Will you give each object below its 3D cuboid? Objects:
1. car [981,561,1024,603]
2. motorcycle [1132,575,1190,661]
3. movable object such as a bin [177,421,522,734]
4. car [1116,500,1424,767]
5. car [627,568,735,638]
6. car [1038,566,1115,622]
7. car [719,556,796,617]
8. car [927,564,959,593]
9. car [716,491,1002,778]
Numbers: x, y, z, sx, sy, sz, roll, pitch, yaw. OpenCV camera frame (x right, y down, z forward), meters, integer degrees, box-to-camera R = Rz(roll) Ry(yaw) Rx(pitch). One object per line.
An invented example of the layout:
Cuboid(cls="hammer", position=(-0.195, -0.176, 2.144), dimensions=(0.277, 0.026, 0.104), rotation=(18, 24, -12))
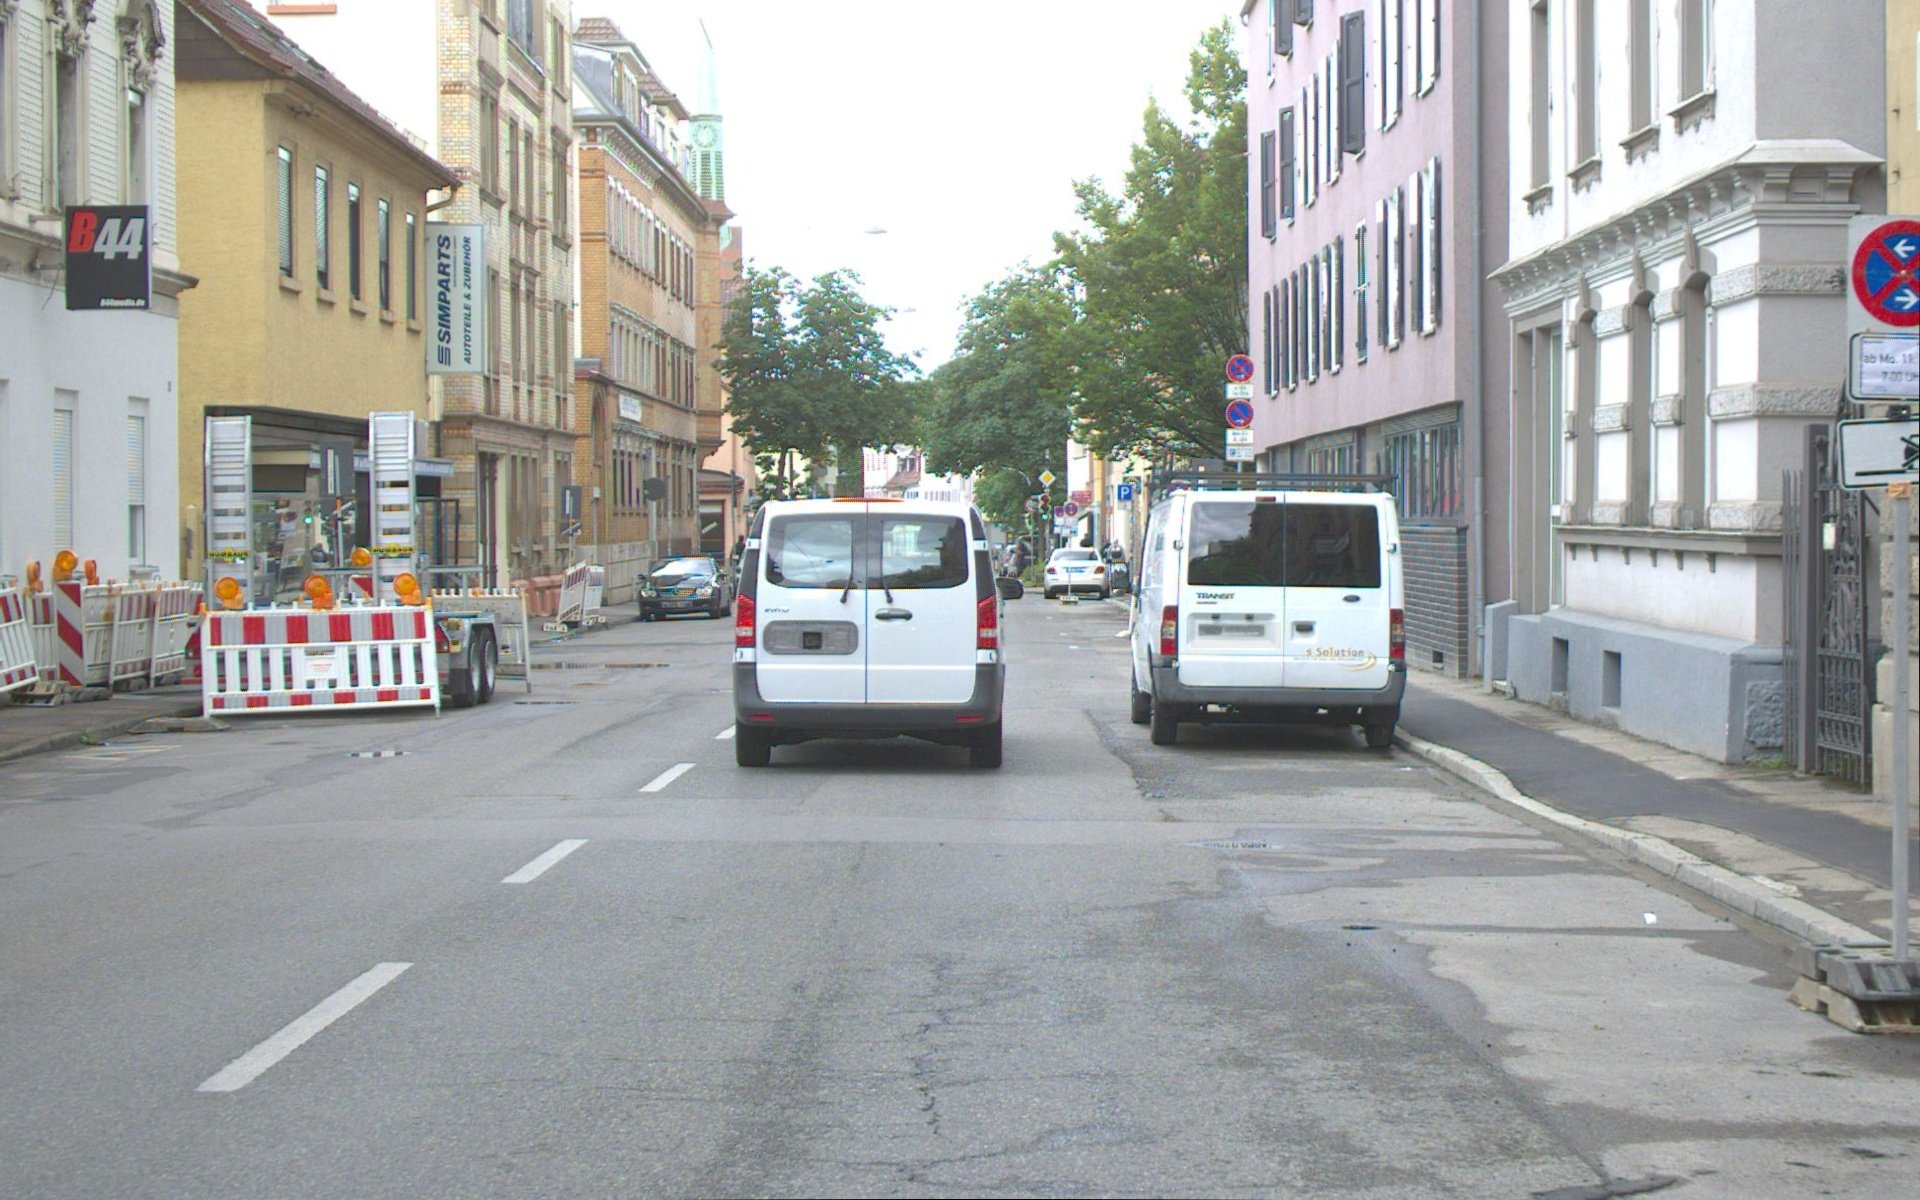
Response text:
Cuboid(cls="car", position=(2.108, -0.894, 170.742), dimensions=(1.993, 2.007, 4.000), rotation=(-1, 0, 2))
Cuboid(cls="motorcycle", position=(3.013, 0.256, 51.356), dimensions=(0.644, 1.242, 2.267), rotation=(0, 0, 9))
Cuboid(cls="movable object such as a bin", position=(-5.962, -0.231, 34.220), dimensions=(2.537, 2.816, 4.539), rotation=(-2, 0, 0))
Cuboid(cls="car", position=(2.484, 0.235, 28.735), dimensions=(2.128, 1.998, 4.926), rotation=(1, 0, 0))
Cuboid(cls="car", position=(-6.038, 0.043, 74.688), dimensions=(1.993, 1.437, 4.000), rotation=(-2, 1, 0))
Cuboid(cls="car", position=(3.339, -0.180, 99.366), dimensions=(1.993, 1.480, 4.000), rotation=(3, 0, 0))
Cuboid(cls="car", position=(-5.858, -0.401, 99.634), dimensions=(1.993, 1.735, 4.000), rotation=(0, 0, 0))
Cuboid(cls="car", position=(-1.001, -1.257, 202.018), dimensions=(1.754, 1.667, 3.668), rotation=(-1, 0, 1))
Cuboid(cls="car", position=(-0.650, 0.213, 25.399), dimensions=(1.891, 1.922, 4.645), rotation=(0, 0, 1))
